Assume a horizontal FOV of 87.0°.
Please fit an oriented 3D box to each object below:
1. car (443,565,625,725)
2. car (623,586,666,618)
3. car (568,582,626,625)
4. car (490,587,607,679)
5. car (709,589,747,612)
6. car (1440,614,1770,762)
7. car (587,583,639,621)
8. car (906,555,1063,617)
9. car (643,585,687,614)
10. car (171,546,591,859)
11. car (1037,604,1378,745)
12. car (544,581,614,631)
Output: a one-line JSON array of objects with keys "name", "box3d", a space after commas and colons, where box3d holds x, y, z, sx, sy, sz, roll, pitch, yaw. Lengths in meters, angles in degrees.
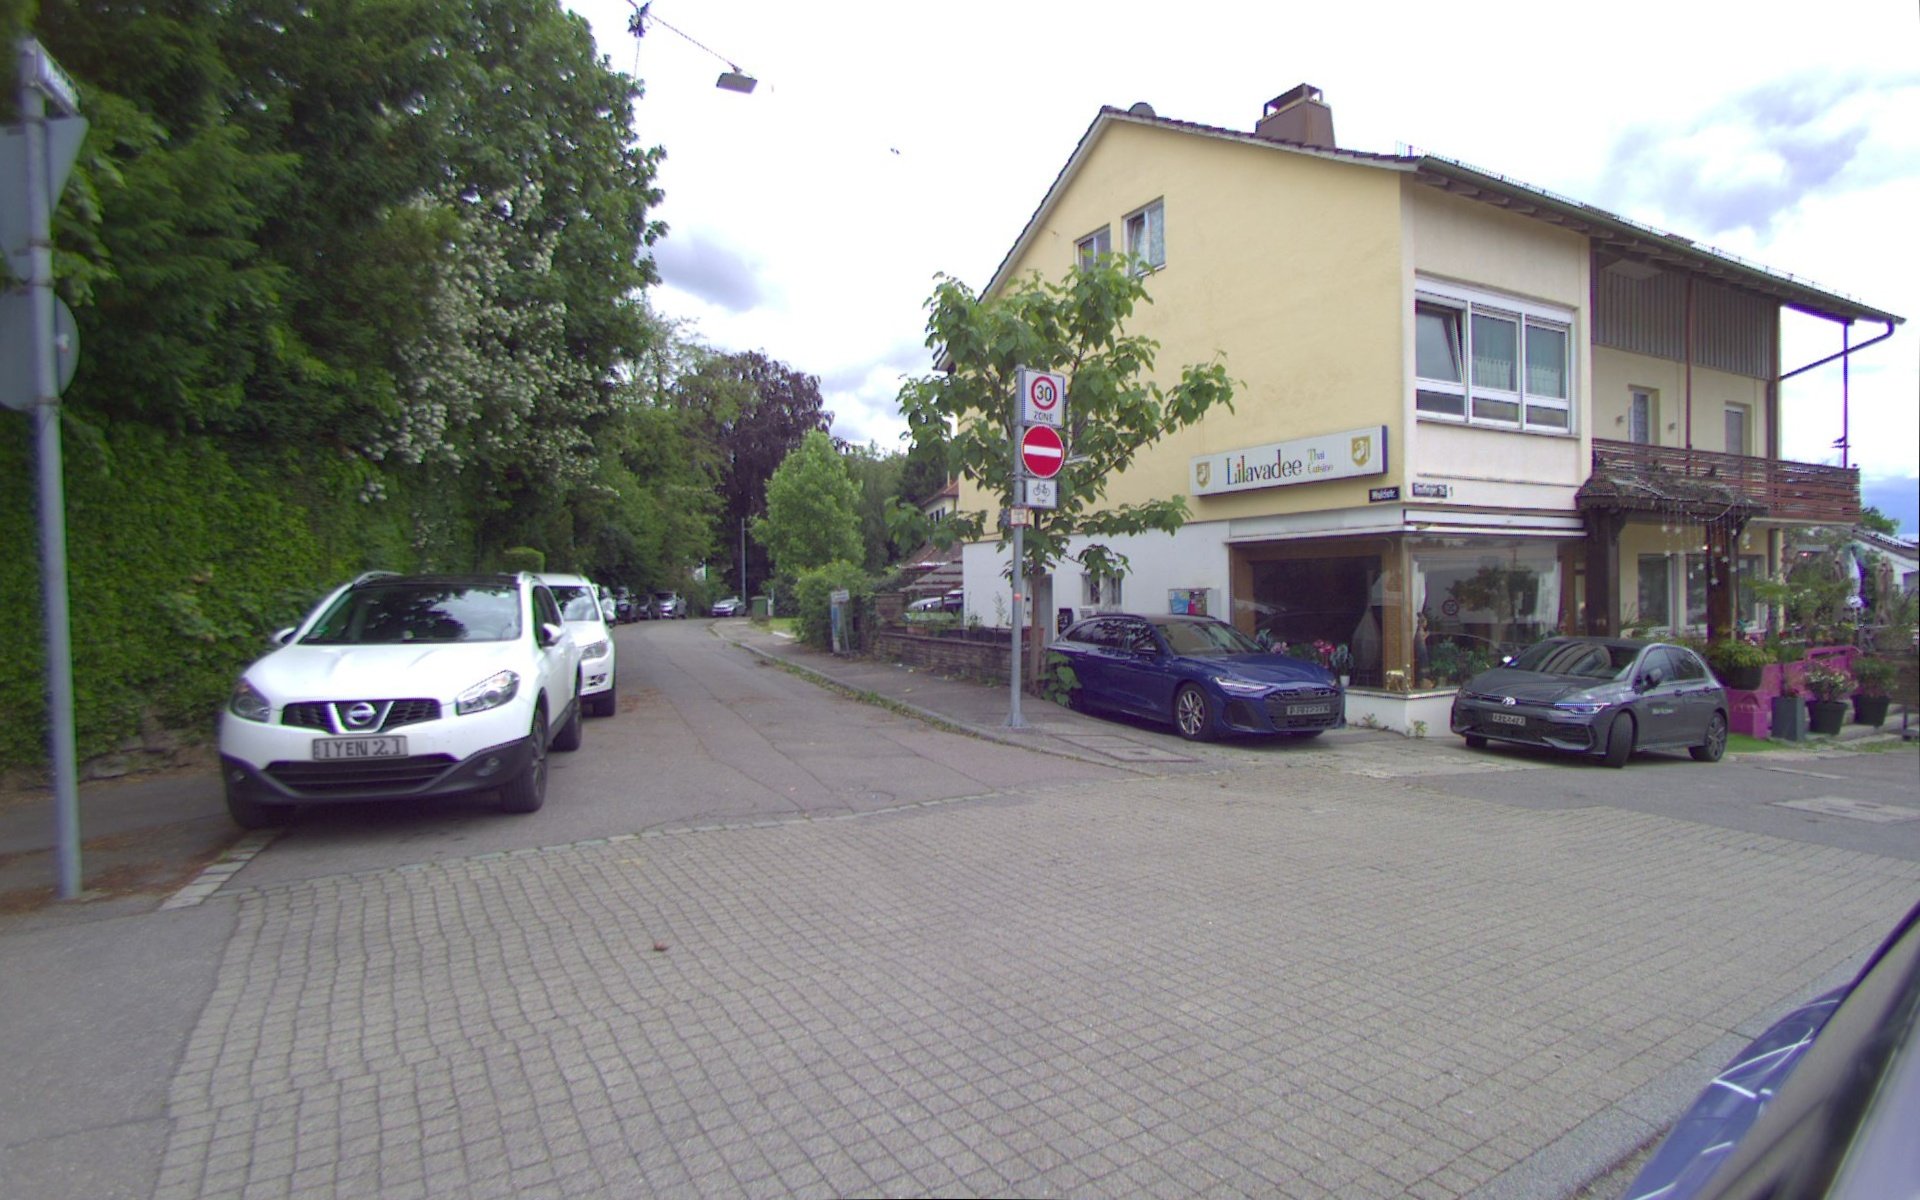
[{"name": "car", "box3d": [-5.167, 0.434, 12.609, 1.761, 1.643, 4.080, -1, 1, -20]}, {"name": "car", "box3d": [-15.903, 0.075, 51.112, 1.542, 1.502, 3.479, -1, 1, -8]}, {"name": "car", "box3d": [-13.411, 0.104, 37.546, 1.542, 1.502, 3.481, -1, 1, -11]}, {"name": "car", "box3d": [-7.437, 0.502, 18.548, 1.761, 1.441, 4.080, -1, 1, -20]}, {"name": "car", "box3d": [-16.332, 0.029, 71.457, 1.547, 1.502, 3.468, 0, 1, 7]}, {"name": "car", "box3d": [7.953, 1.065, 12.369, 4.242, 1.480, 1.800, 5, -2, -34]}, {"name": "car", "box3d": [-14.194, 0.045, 41.526, 1.542, 1.502, 3.481, -1, 1, -11]}, {"name": "car", "box3d": [0.717, -0.375, 30.247, 4.235, 1.480, 1.802, 4, -2, -19]}, {"name": "car", "box3d": [-16.226, -0.041, 55.795, 1.543, 1.502, 3.476, 0, 1, -3]}, {"name": "car", "box3d": [-3.857, 0.507, 7.554, 1.761, 1.643, 4.144, -1, 1, -16]}, {"name": "car", "box3d": [2.925, 0.828, 13.209, 1.761, 1.405, 4.758, 2, 0, -23]}, {"name": "car", "box3d": [-12.205, 0.138, 32.592, 1.542, 1.502, 3.745, -1, 1, -11]}]
